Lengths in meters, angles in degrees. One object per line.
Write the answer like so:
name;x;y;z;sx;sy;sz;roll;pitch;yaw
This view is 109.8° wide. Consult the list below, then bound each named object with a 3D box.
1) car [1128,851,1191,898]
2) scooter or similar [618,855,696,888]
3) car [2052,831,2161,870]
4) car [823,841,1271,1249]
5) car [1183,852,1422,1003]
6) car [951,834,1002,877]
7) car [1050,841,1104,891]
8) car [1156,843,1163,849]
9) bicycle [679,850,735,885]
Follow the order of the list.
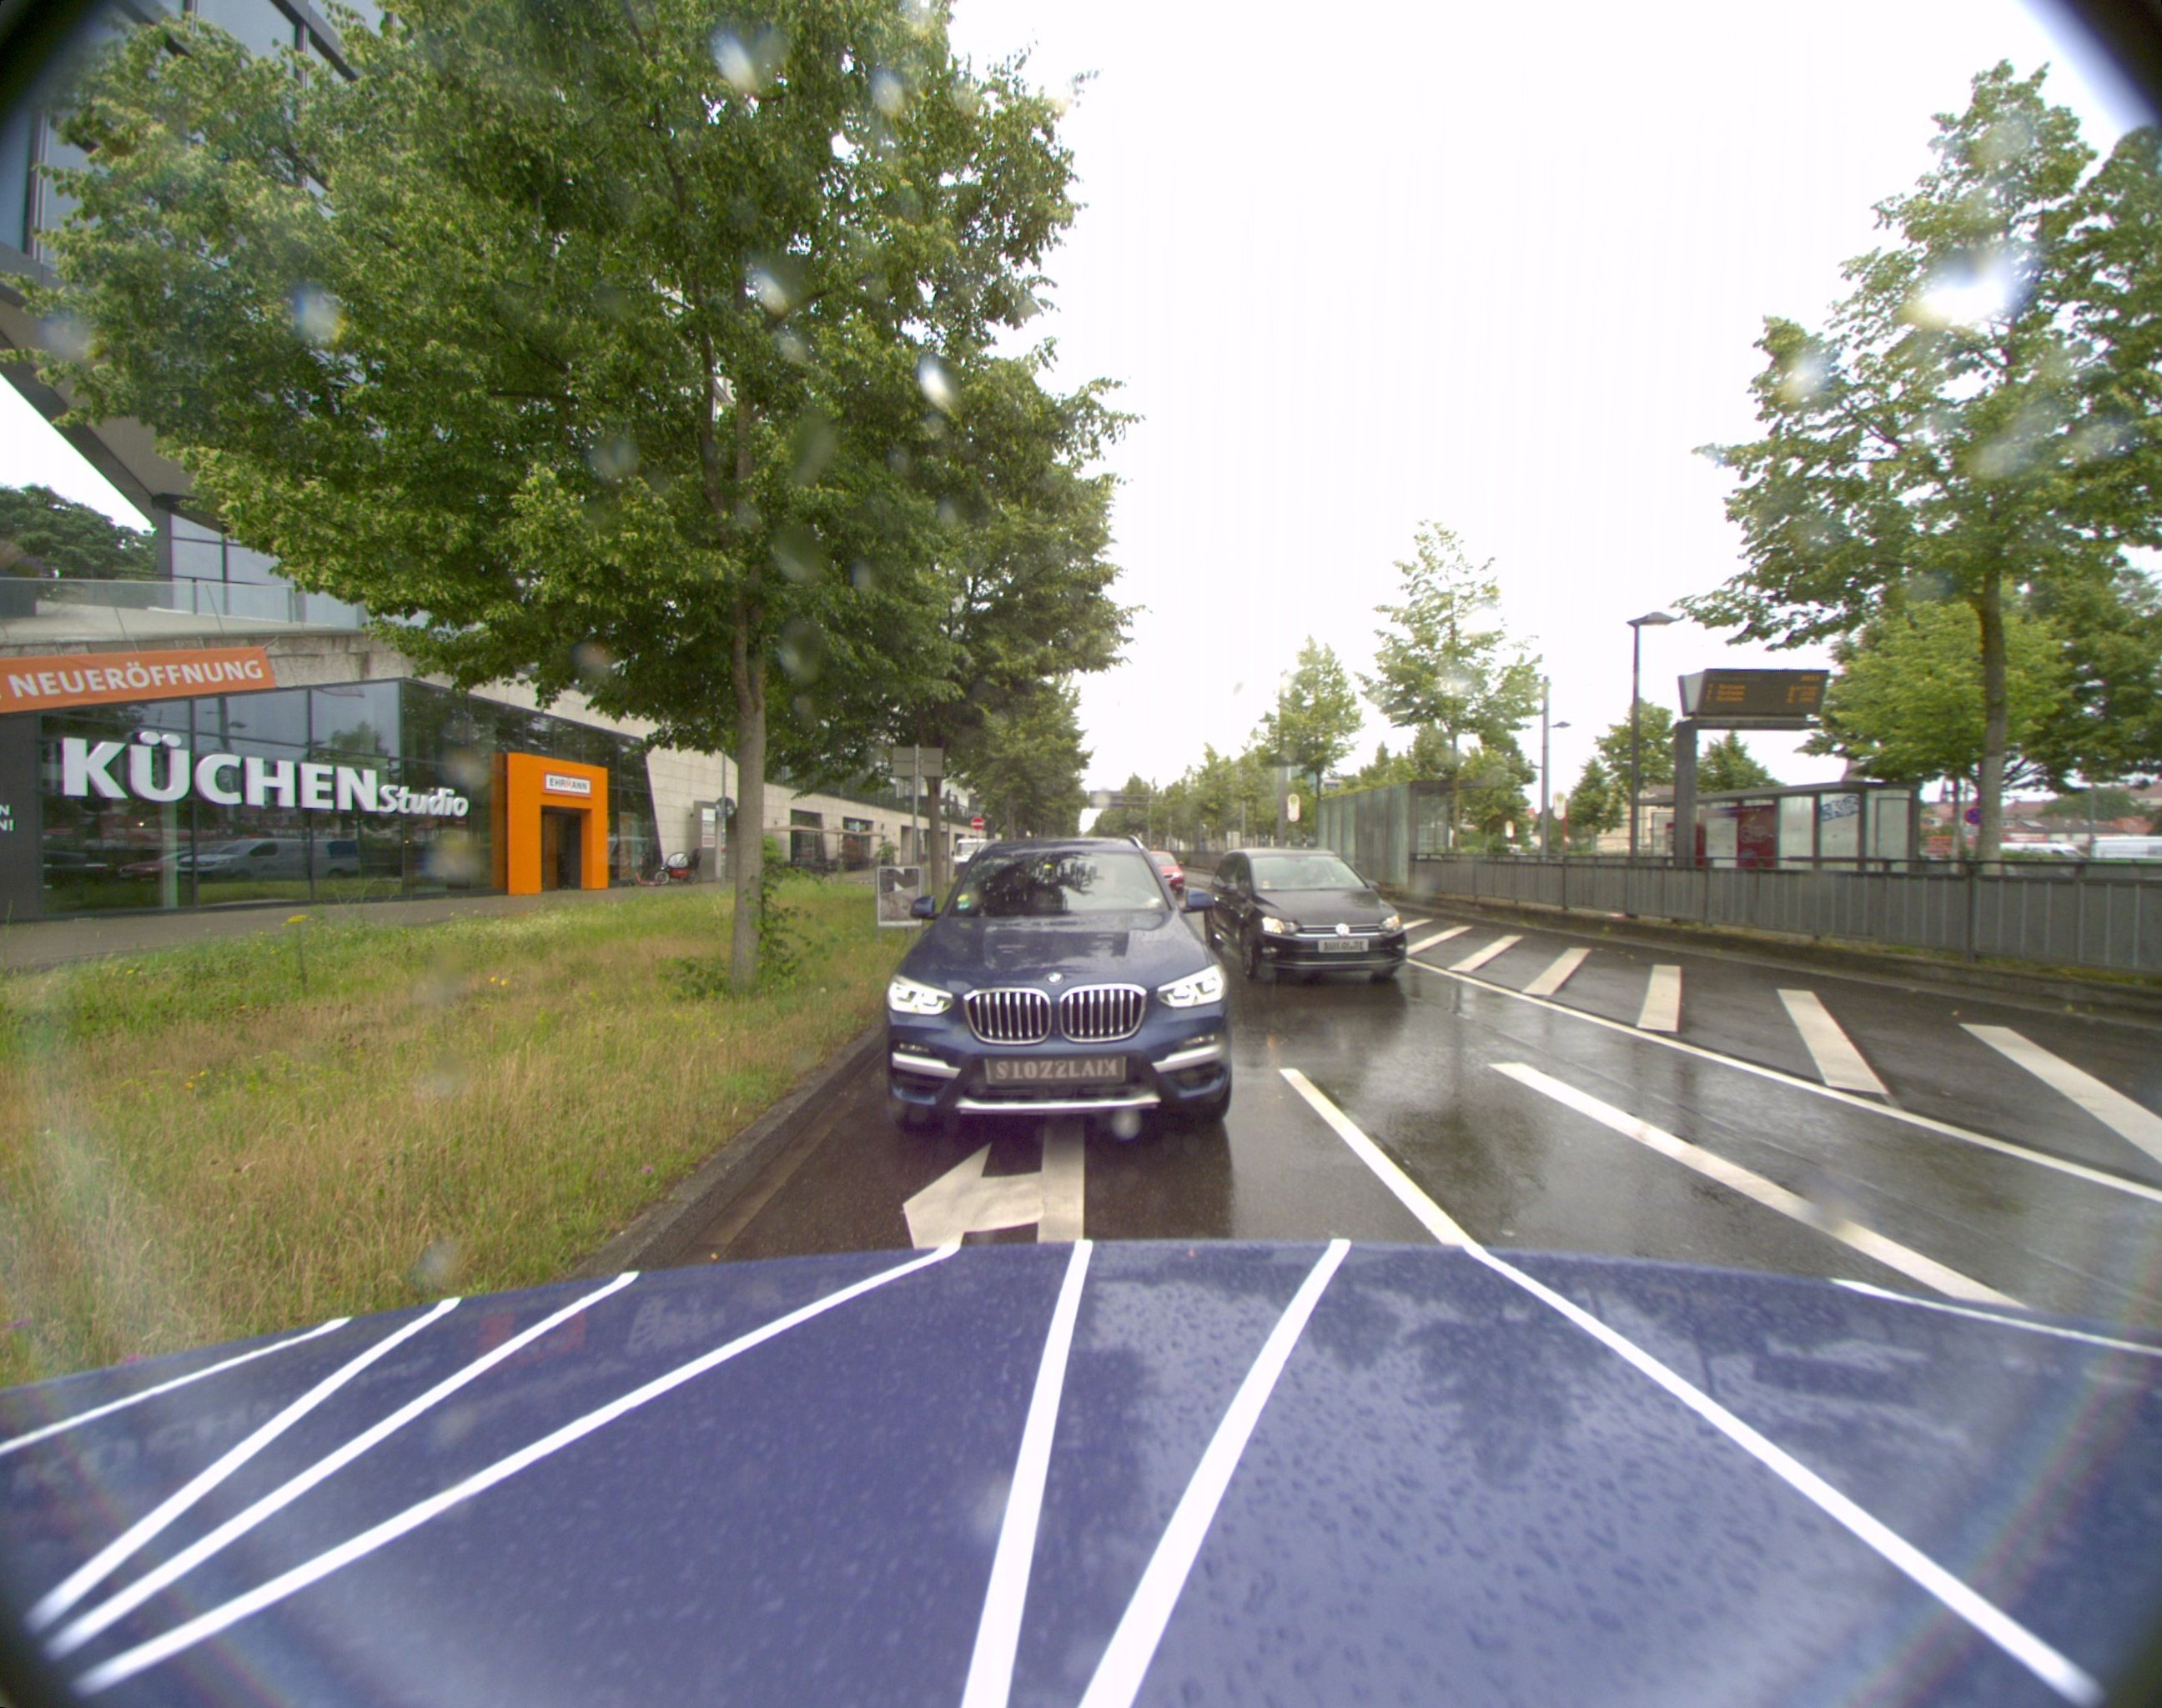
car;2.676;0.657;26.901;1.788;1.450;4.315;-2;1;1
scooter or similar;-15.668;0.639;28.161;0.810;1.093;2.617;-2;1;18
car;70.125;-0.249;50.062;2.356;2.462;7.636;-2;1;-3
car;-0.123;0.877;5.551;1.916;1.736;4.384;-2;-1;1
car;2.655;0.774;10.248;1.788;1.509;4.331;-2;1;-2
car;-5.876;0.055;43.406;2.084;2.189;5.097;-2;1;1
car;-0.107;0.384;27.920;1.788;1.638;3.999;-2;1;1
car;26.747;-2.756;259.268;1.998;2.002;4.000;-2;1;2
bicycle;-15.313;0.534;31.215;0.882;1.339;2.696;-2;1;1
